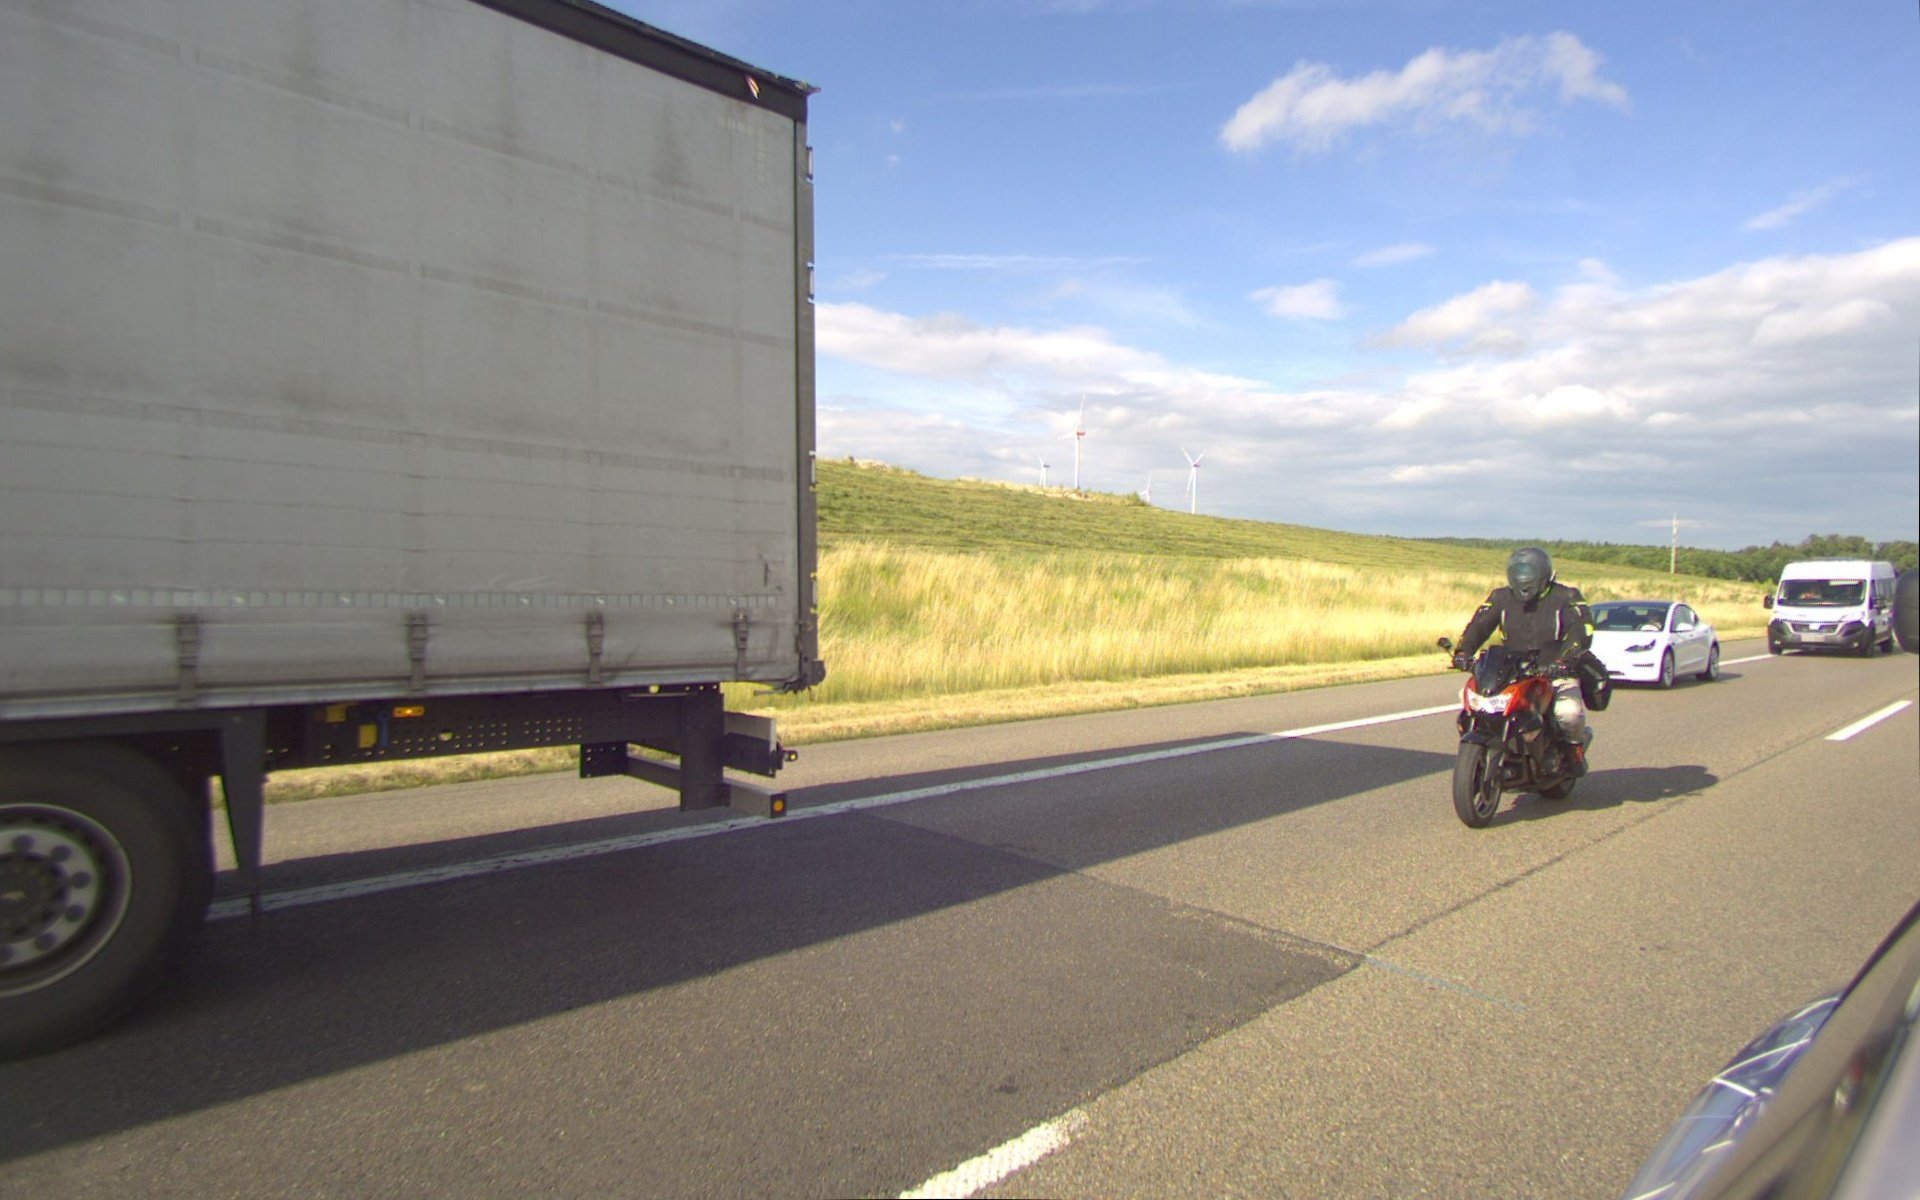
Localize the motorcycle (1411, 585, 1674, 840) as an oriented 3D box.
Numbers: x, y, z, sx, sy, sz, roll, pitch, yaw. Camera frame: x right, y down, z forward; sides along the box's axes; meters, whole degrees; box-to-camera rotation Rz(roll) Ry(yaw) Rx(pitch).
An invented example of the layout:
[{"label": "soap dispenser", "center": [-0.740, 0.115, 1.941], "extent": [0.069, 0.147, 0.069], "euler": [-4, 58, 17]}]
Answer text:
[{"label": "motorcycle", "center": [4.050, 0.637, 6.946], "extent": [2.230, 1.474, 0.897], "euler": [-1, 1, -41]}]

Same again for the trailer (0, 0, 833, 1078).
[{"label": "trailer", "center": [-6.518, -0.618, 1.512], "extent": [13.462, 4.091, 2.621], "euler": [0, 1, -42]}]

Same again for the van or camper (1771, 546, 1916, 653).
[{"label": "van or camper", "center": [23.938, -0.068, 27.319], "extent": [6.301, 2.576, 2.100], "euler": [-1, 1, -41]}]

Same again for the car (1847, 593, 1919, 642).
[{"label": "car", "center": [31.019, 0.540, 33.754], "extent": [3.930, 1.512, 1.649], "euler": [-1, 1, -41]}]

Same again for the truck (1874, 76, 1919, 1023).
[{"label": "truck", "center": [8.075, -0.140, 6.218], "extent": [10.970, 3.199, 2.499], "euler": [0, 0, -42]}]

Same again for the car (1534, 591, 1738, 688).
[{"label": "car", "center": [11.847, 0.593, 17.616], "extent": [4.384, 1.435, 1.870], "euler": [-1, 1, -41]}]

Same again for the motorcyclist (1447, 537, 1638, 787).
[{"label": "motorcyclist", "center": [3.952, 0.369, 6.880], "extent": [0.848, 1.548, 0.897], "euler": [0, 1, -41]}]
